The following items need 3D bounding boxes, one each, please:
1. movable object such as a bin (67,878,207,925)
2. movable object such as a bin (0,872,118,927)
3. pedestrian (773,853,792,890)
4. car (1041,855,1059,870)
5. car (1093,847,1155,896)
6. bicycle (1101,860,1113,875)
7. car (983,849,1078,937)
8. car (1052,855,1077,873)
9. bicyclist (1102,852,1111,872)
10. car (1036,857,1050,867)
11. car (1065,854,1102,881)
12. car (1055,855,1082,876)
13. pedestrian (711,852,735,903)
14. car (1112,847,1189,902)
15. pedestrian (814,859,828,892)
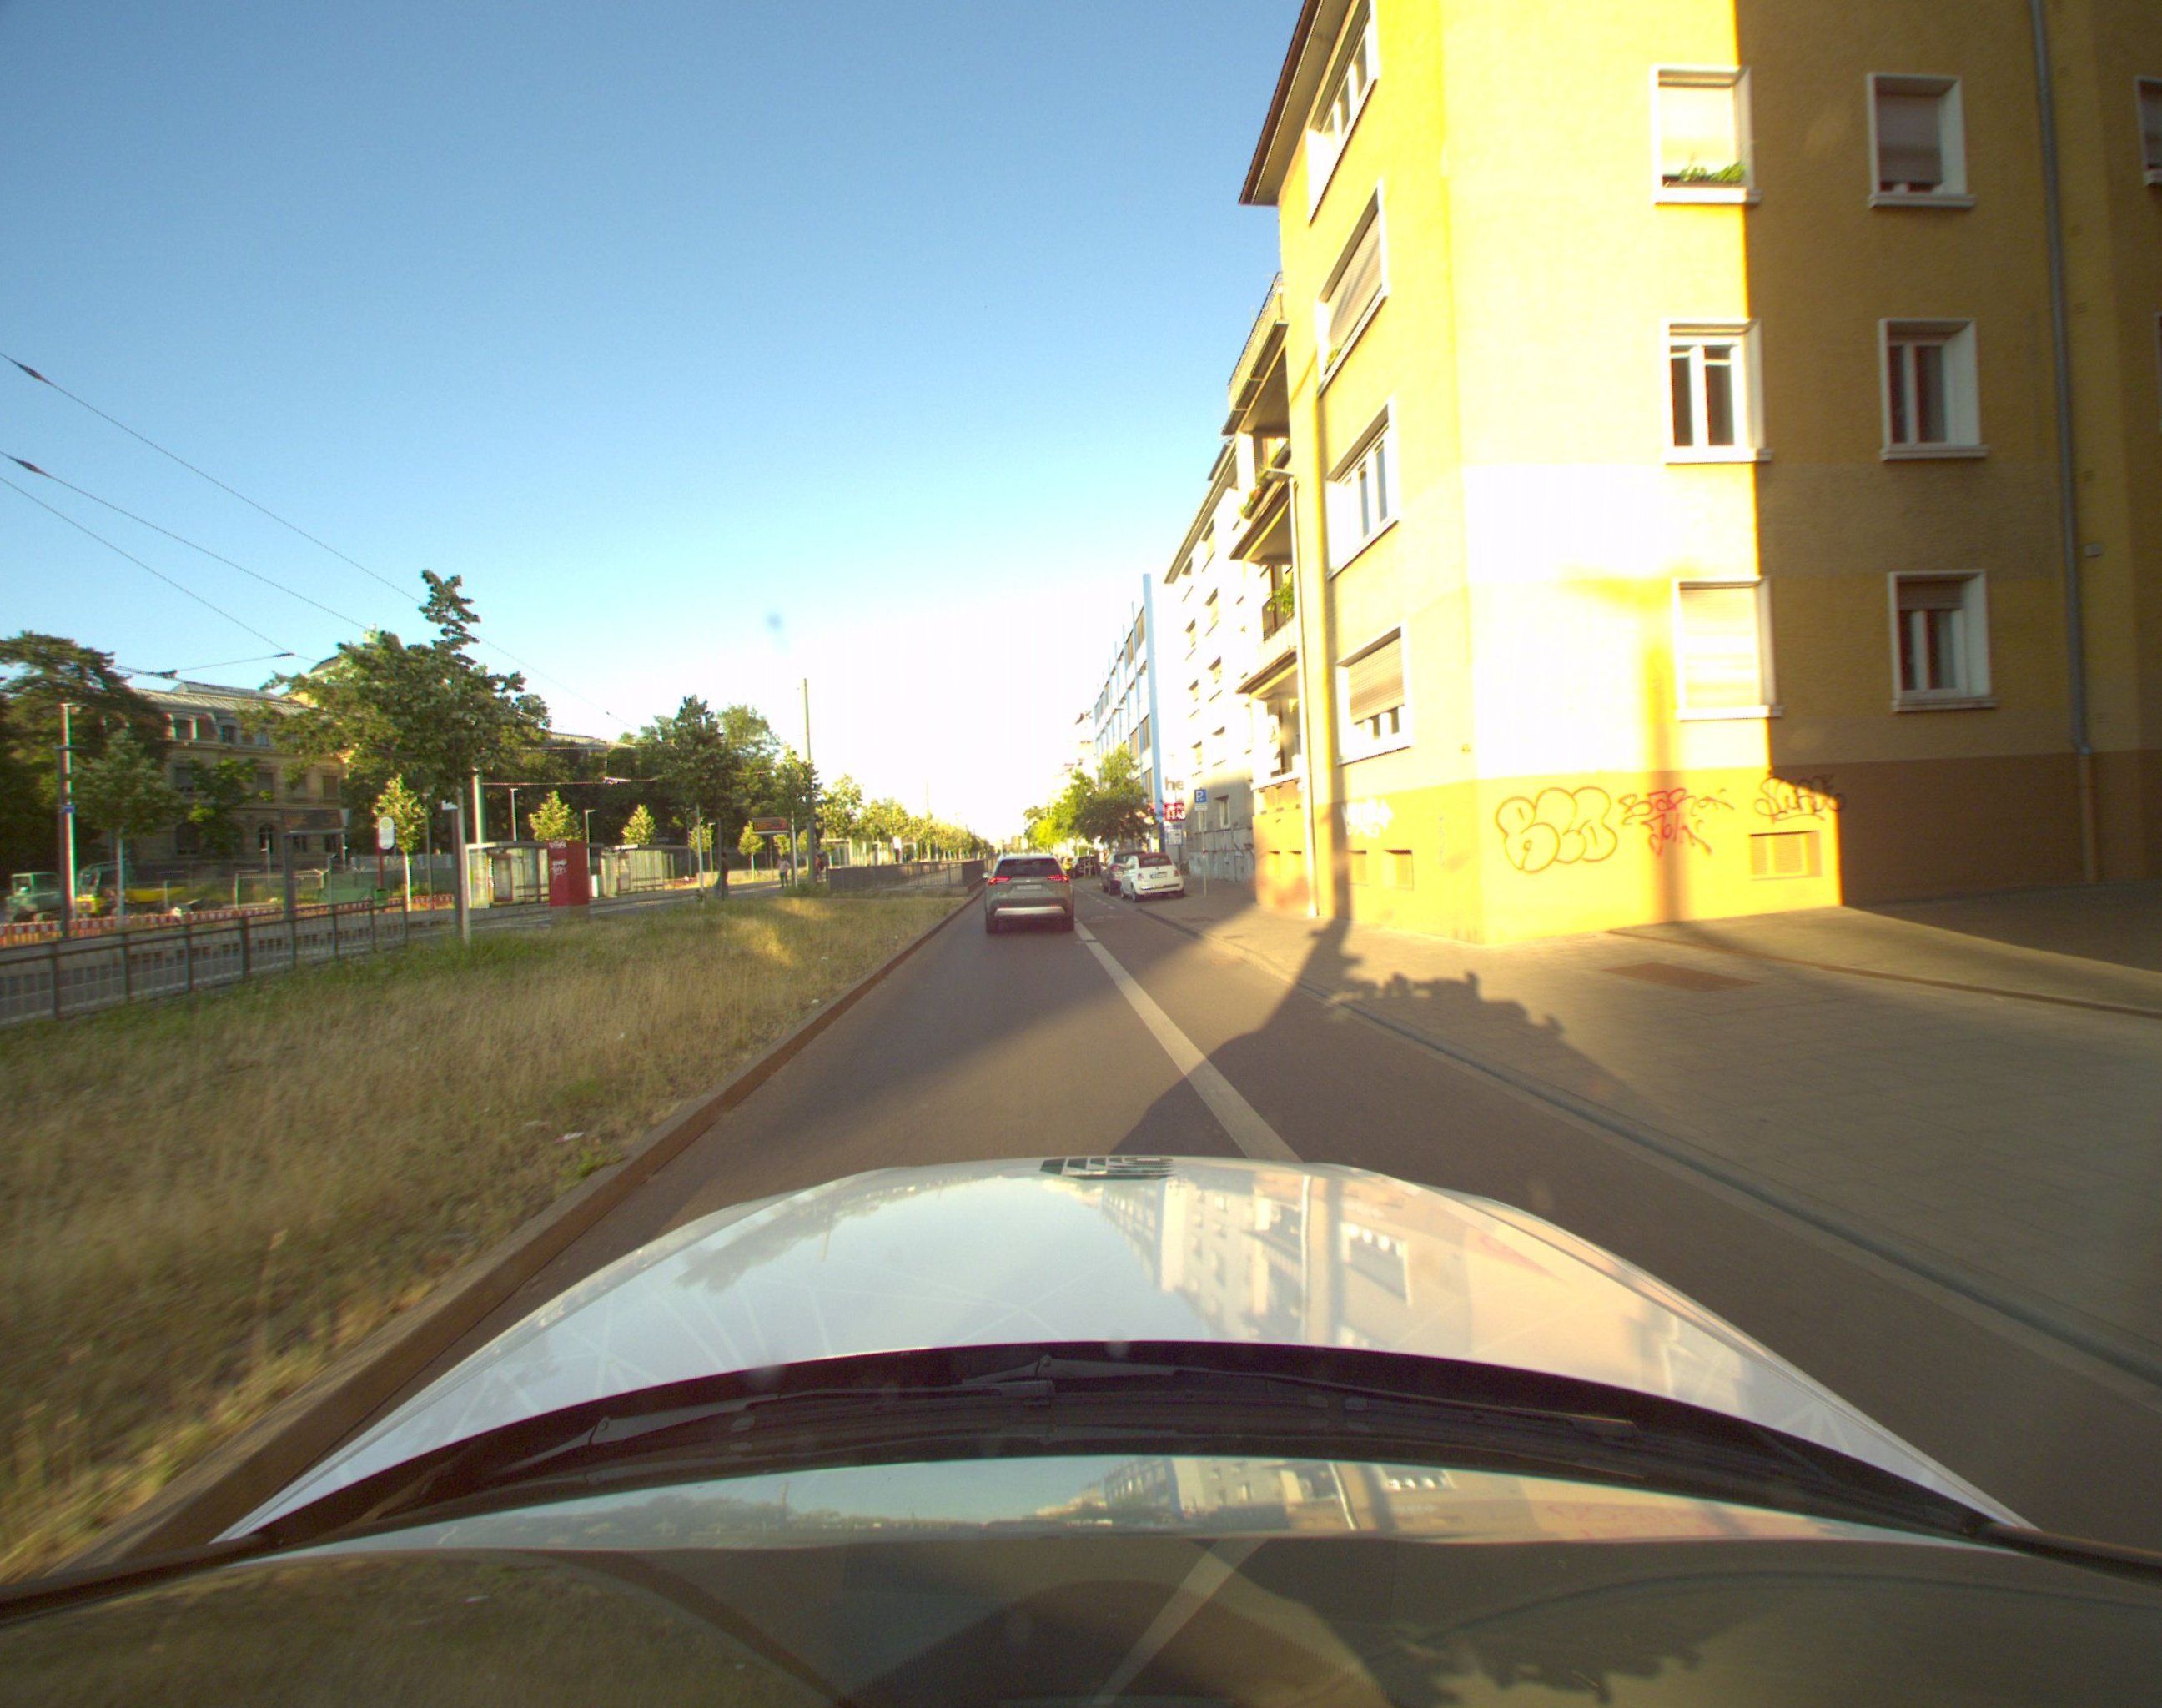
[{"bbox_3d":[-51.582,2.526,44.682,1.989,2.246,4.934,-3,0,-3],"label":"movable object such as a bin"},{"bbox_3d":[-55.454,2.408,44.047,1.989,2.706,3.996,-3,0,-3],"label":"movable object such as a bin"},{"bbox_3d":[-14.755,0.854,40.300,0.725,1.744,0.633,-3,1,-13],"label":"pedestrian"},{"bbox_3d":[-3.926,1.071,103.976,1.852,1.706,4.244,-5,0,-7],"label":"car"},{"bbox_3d":[1.613,0.645,32.200,1.754,1.654,4.521,-5,0,-5],"label":"car"},{"bbox_3d":[2.090,1.109,65.207,0.553,1.129,1.969,-6,0,-7],"label":"bicycle"},{"bbox_3d":[-1.230,0.789,18.294,1.856,1.714,4.182,-1,-1,-7],"label":"car"},{"bbox_3d":[-1.537,0.916,74.745,1.817,1.454,4.119,-4,0,-7],"label":"car"},{"bbox_3d":[2.042,0.642,65.238,0.557,1.475,0.621,-6,0,-7],"label":"bicyclist"},{"bbox_3d":[-6.162,1.291,133.238,1.791,1.471,4.433,-6,0,-8],"label":"car"},{"bbox_3d":[0.106,0.870,54.237,1.817,1.566,4.799,-6,0,-7],"label":"car"},{"bbox_3d":[-1.019,0.902,64.502,1.682,1.454,4.120,-4,0,-7],"label":"car"},{"bbox_3d":[-12.804,0.844,29.128,0.469,1.787,0.626,-3,-1,2],"label":"pedestrian"},{"bbox_3d":[2.217,0.638,26.904,1.668,1.517,3.592,-6,0,-7],"label":"car"},{"bbox_3d":[-14.284,1.182,44.690,0.636,1.729,0.632,-3,0,-17],"label":"pedestrian"}]
